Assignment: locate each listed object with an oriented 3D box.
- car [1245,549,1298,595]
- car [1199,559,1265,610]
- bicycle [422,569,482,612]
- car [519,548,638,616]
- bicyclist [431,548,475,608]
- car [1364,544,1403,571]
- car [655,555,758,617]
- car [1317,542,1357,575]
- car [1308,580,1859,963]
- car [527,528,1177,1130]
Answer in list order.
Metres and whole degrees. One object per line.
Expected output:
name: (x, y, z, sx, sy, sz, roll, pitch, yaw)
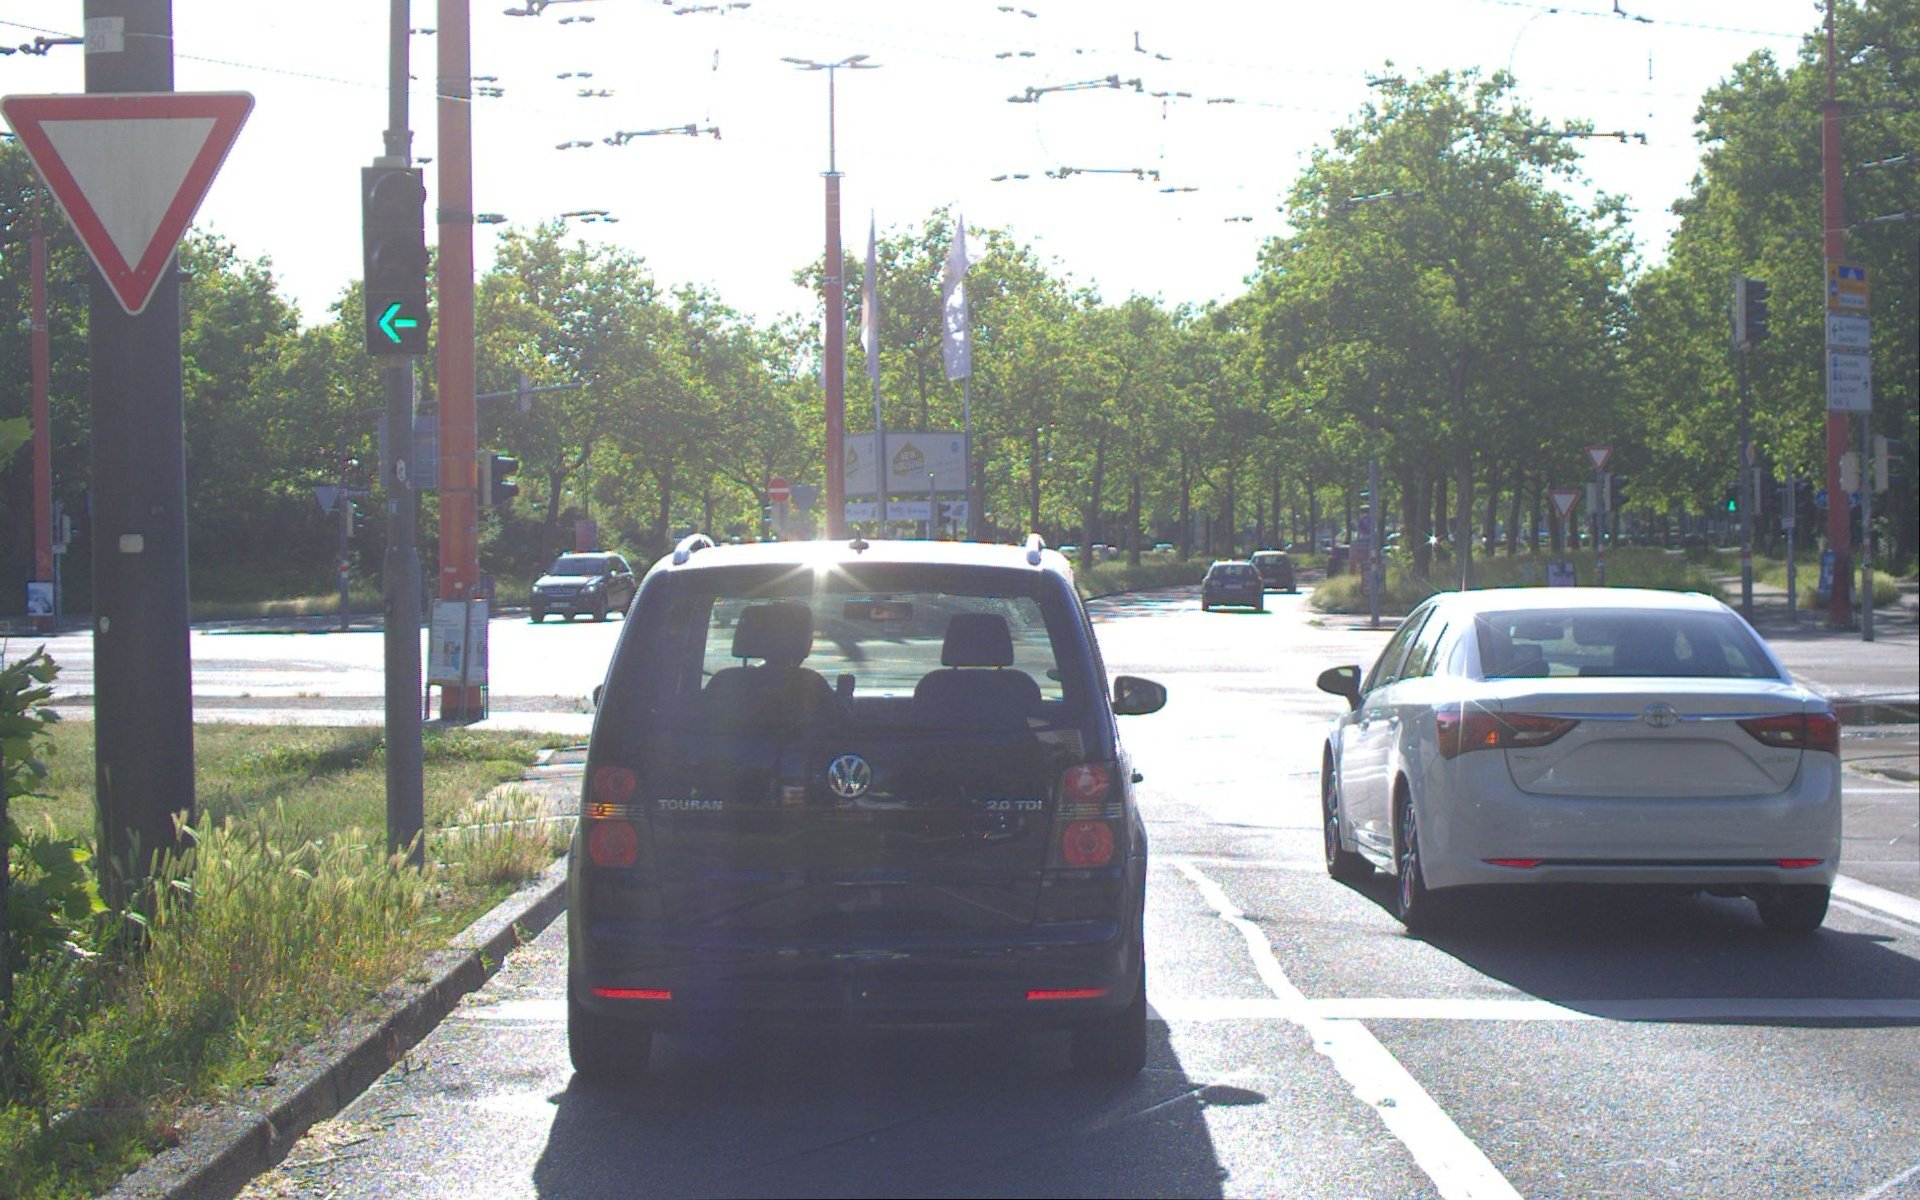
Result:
car: (11.263, -1.011, 124.424, 1.873, 1.621, 3.999, 1, 0, 5)
car: (7.842, -0.457, 99.042, 1.790, 1.383, 4.049, 1, 1, 6)
bicycle: (-13.453, -0.256, 91.044, 0.764, 1.087, 2.014, -1, 2, 17)
car: (-10.003, -0.487, 90.517, 1.903, 1.720, 4.652, 0, 1, 10)
bicyclist: (-13.435, -0.585, 91.114, 0.759, 1.552, 0.980, -1, 1, 17)
car: (22.480, -2.273, 182.692, 1.790, 1.383, 4.049, 1, 1, 3)
car: (-6.475, -0.380, 88.188, 1.768, 1.533, 4.090, 0, 1, 9)
car: (17.689, -1.964, 161.344, 1.790, 1.497, 4.049, 1, 1, 5)
car: (2.683, 0.666, 15.758, 1.767, 1.459, 4.366, 0, 1, 1)
car: (-0.325, 0.584, 11.862, 1.767, 1.638, 4.924, 0, 1, -1)
